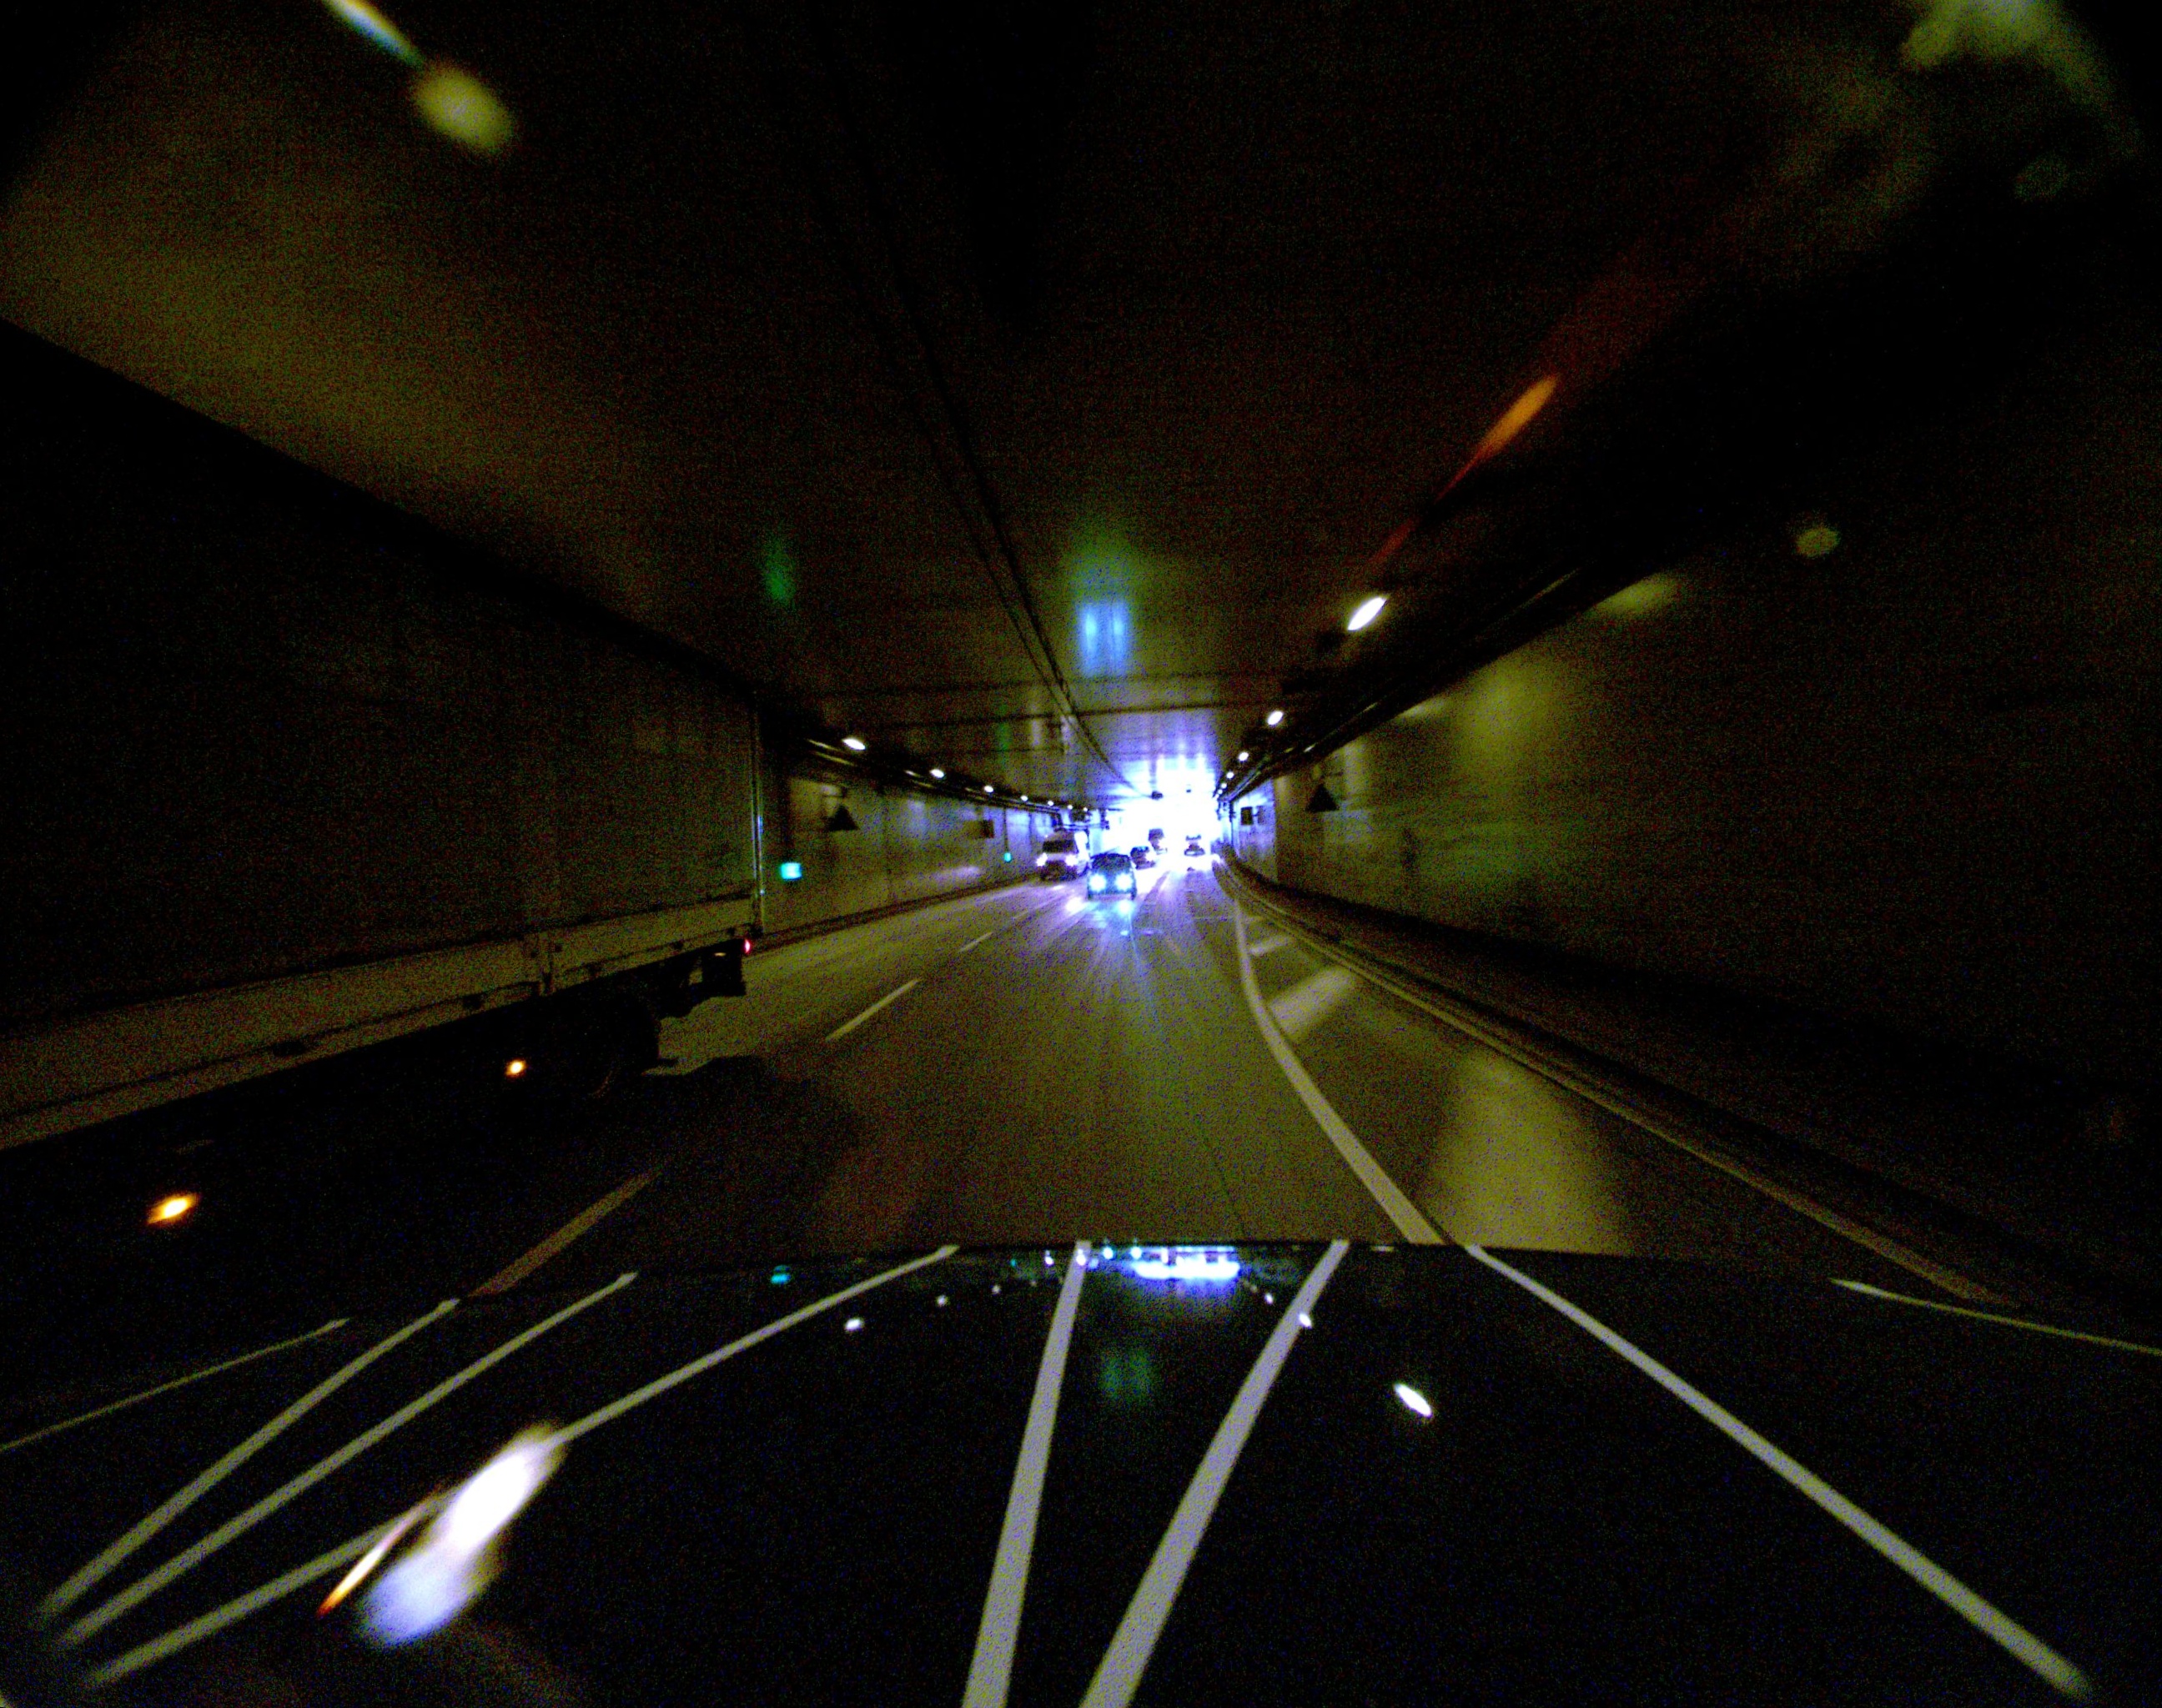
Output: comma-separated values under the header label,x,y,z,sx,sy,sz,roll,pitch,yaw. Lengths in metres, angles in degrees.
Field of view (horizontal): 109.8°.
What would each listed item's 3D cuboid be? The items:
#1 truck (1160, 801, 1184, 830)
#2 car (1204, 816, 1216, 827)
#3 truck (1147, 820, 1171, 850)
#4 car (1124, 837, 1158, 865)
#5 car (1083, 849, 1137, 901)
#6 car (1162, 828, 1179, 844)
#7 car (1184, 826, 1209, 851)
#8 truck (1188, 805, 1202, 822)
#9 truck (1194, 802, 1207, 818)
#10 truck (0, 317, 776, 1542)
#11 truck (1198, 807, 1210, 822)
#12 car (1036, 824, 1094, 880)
label,x,y,z,sx,sy,sz,roll,pitch,yaw
truck,16.083,-6.891,133.881,2.884,4.449,10.455,-4,4,13
car,23.425,-5.905,138.143,1.949,1.526,3.999,-5,5,10
truck,7.748,-1.969,75.450,2.073,2.526,6.021,-5,4,6
car,4.129,-0.215,51.814,1.763,1.552,3.819,-4,3,11
car,1.094,0.674,26.859,1.638,1.552,3.716,-2,2,6
car,11.280,-2.317,95.407,1.638,1.662,3.716,-4,4,11
car,10.304,-1.416,67.596,1.934,1.919,4.198,-4,2,11
truck,24.199,-8.640,161.213,2.492,3.371,6.376,-4,4,11
truck,27.035,-10.021,172.208,2.492,3.122,6.376,-4,4,11
truck,-4.065,0.212,3.060,2.560,3.162,7.245,-3,0,0
truck,24.676,-7.904,152.181,2.137,2.714,5.671,-4,4,11
car,-0.787,-0.211,43.101,2.105,2.831,6.862,-3,2,7
